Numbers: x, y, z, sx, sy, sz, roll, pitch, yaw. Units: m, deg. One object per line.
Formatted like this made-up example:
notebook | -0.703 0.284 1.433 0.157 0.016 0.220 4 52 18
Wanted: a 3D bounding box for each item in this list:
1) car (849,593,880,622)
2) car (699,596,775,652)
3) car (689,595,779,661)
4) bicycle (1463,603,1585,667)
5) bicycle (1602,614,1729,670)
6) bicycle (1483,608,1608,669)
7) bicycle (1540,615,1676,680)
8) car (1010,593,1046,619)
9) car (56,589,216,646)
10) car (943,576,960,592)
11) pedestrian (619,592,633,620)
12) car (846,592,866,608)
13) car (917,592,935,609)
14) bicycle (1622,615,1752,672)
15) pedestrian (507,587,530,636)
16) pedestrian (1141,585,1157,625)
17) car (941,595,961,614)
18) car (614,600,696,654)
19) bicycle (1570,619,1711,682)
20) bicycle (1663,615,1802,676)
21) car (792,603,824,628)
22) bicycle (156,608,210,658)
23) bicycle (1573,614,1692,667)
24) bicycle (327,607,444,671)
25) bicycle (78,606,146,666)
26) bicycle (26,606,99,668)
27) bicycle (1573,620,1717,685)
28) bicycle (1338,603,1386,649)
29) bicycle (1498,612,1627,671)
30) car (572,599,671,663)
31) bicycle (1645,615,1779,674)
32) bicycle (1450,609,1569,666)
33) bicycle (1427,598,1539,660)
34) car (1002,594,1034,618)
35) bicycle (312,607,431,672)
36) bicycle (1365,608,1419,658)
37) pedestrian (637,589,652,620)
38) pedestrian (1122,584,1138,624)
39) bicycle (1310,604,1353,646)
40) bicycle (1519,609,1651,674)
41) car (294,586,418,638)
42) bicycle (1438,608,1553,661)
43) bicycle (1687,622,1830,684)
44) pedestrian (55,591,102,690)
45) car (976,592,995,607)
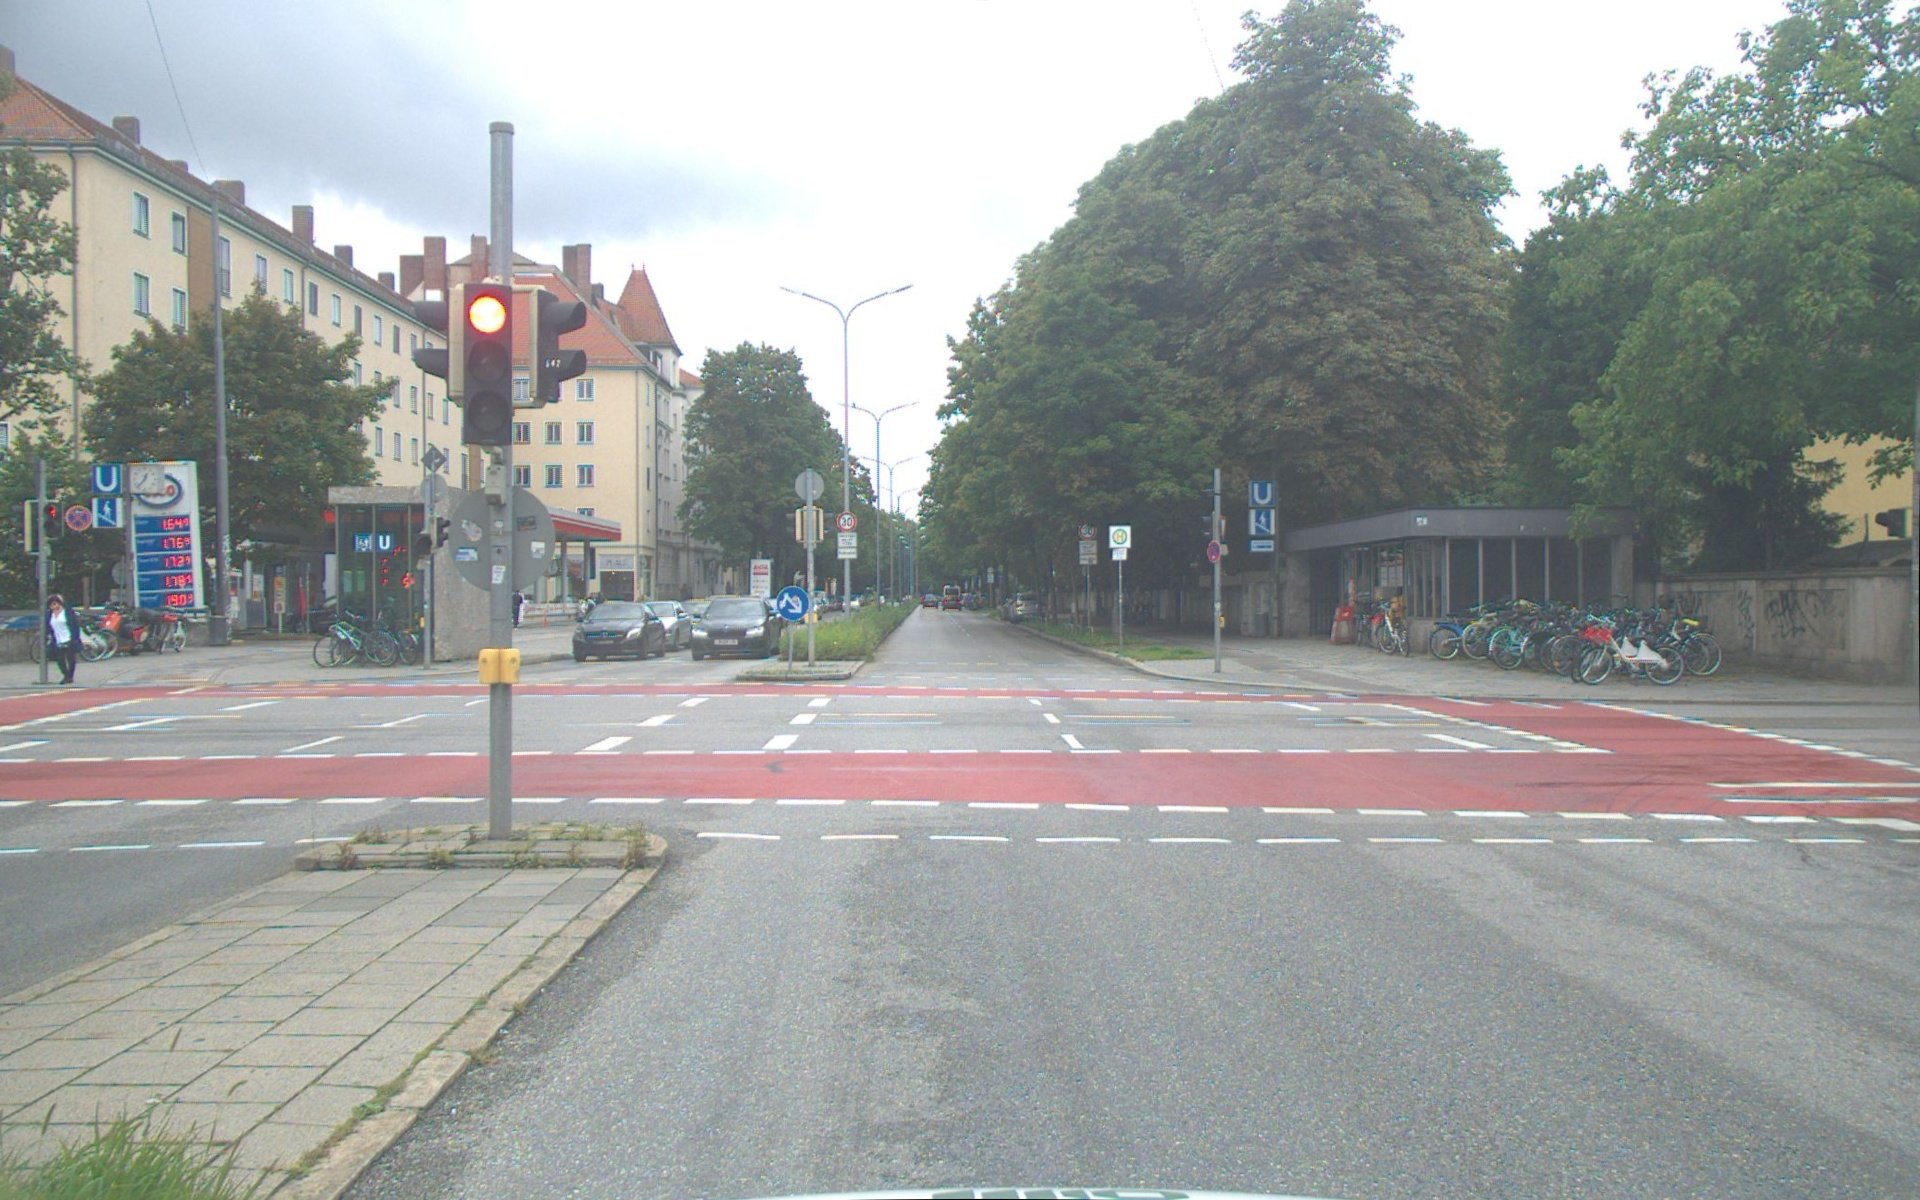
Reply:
car | -4.886 0.370 85.185 1.438 1.423 3.699 0 0 -1
car | -6.428 0.656 48.017 1.724 1.519 3.999 0 0 -1
car | -5.475 0.646 40.458 1.724 1.519 3.999 0 0 -1
bicycle | 10.689 0.663 31.393 2.097 1.199 0.603 0 0 7
bicycle | 13.310 0.798 31.249 2.097 1.032 0.634 0 0 7
bicycle | 10.831 0.713 30.658 2.097 1.105 0.603 0 0 7
bicycle | 11.172 0.816 28.565 2.097 1.089 0.603 0 0 7
car | 3.665 0.322 89.657 1.708 1.387 3.805 0 0 -1
car | -24.361 0.496 49.003 3.886 1.637 1.810 0 0 -13
car | -0.994 -1.799 190.753 1.953 1.787 3.999 0 0 -2
pedestrian | -20.464 0.373 101.393 0.682 1.666 0.738 0 0 -1
car | -9.924 -0.035 157.454 1.724 1.486 3.999 0 0 -1
car | -3.605 0.028 175.544 1.819 1.713 3.999 0 0 -1
bicycle | 13.378 0.797 30.465 2.097 1.032 0.634 0 0 7
pedestrian | -18.730 0.470 70.195 0.715 2.049 0.834 1 -1 -1
pedestrian | 8.188 0.203 71.516 0.663 1.712 0.683 0 0 5
car | -0.891 0.407 158.178 1.884 1.713 3.999 0 0 -1
car | -8.819 0.754 48.148 1.724 1.486 3.999 0 0 -1
bicycle | 11.404 0.841 27.765 2.097 1.032 0.634 0 0 7
bicycle | 13.481 0.794 28.906 2.097 1.032 0.634 0 0 7
car | -9.524 0.975 104.023 1.724 1.519 3.999 0 0 -1
bicycle | -18.840 0.780 40.135 0.596 1.165 1.962 0 0 -7
bicycle | 13.338 0.808 32.831 2.097 1.032 0.634 0 0 7
bicycle | -12.291 0.827 35.412 2.238 1.327 0.694 0 0 0
bicycle | -18.426 0.760 35.997 0.596 1.257 2.183 0 0 -7
bicycle | -19.057 0.764 35.156 0.596 1.257 2.183 0 0 -7
bicycle | 11.220 0.855 27.137 2.097 1.032 0.603 0 0 7
bicycle | 9.442 0.601 38.919 0.545 1.032 2.014 0 0 -3
bicycle | 10.884 0.749 29.929 2.097 1.032 0.603 0 0 7
car | -8.382 0.729 41.247 1.724 1.486 3.999 0 0 -1
bicycle | 13.472 0.798 29.673 2.097 1.032 0.634 0 0 7
bicycle | 10.646 0.725 32.094 2.097 1.080 0.603 0 0 7
bicycle | 10.645 0.581 33.694 2.097 1.240 0.603 0 0 7
car | 3.509 0.368 99.903 1.708 1.387 3.805 0 0 -1
bicycle | -12.300 0.815 34.632 2.225 1.327 0.704 0 0 0
bicycle | 9.440 0.703 36.185 0.545 1.032 2.014 0 0 -3
pedestrian | -17.359 0.257 90.889 0.682 1.666 0.738 0 0 -1
pedestrian | 7.326 0.158 71.438 0.663 1.712 0.683 0 0 5
bicycle | 9.510 0.623 42.359 0.545 1.032 2.014 0 0 -3
bicycle | 11.024 0.735 29.217 2.097 1.120 0.603 0 0 7
car | -22.392 0.422 61.437 3.908 1.870 1.879 0 0 -4
bicycle | 10.658 0.694 32.975 2.097 1.032 0.603 0 0 7
bicycle | 13.546 0.894 28.109 2.097 1.032 0.634 0 0 7
pedestrian | -15.495 0.704 29.079 0.523 1.725 0.577 0 0 -3
car | 2.434 -0.054 159.390 1.708 1.452 3.898 0 0 -1
